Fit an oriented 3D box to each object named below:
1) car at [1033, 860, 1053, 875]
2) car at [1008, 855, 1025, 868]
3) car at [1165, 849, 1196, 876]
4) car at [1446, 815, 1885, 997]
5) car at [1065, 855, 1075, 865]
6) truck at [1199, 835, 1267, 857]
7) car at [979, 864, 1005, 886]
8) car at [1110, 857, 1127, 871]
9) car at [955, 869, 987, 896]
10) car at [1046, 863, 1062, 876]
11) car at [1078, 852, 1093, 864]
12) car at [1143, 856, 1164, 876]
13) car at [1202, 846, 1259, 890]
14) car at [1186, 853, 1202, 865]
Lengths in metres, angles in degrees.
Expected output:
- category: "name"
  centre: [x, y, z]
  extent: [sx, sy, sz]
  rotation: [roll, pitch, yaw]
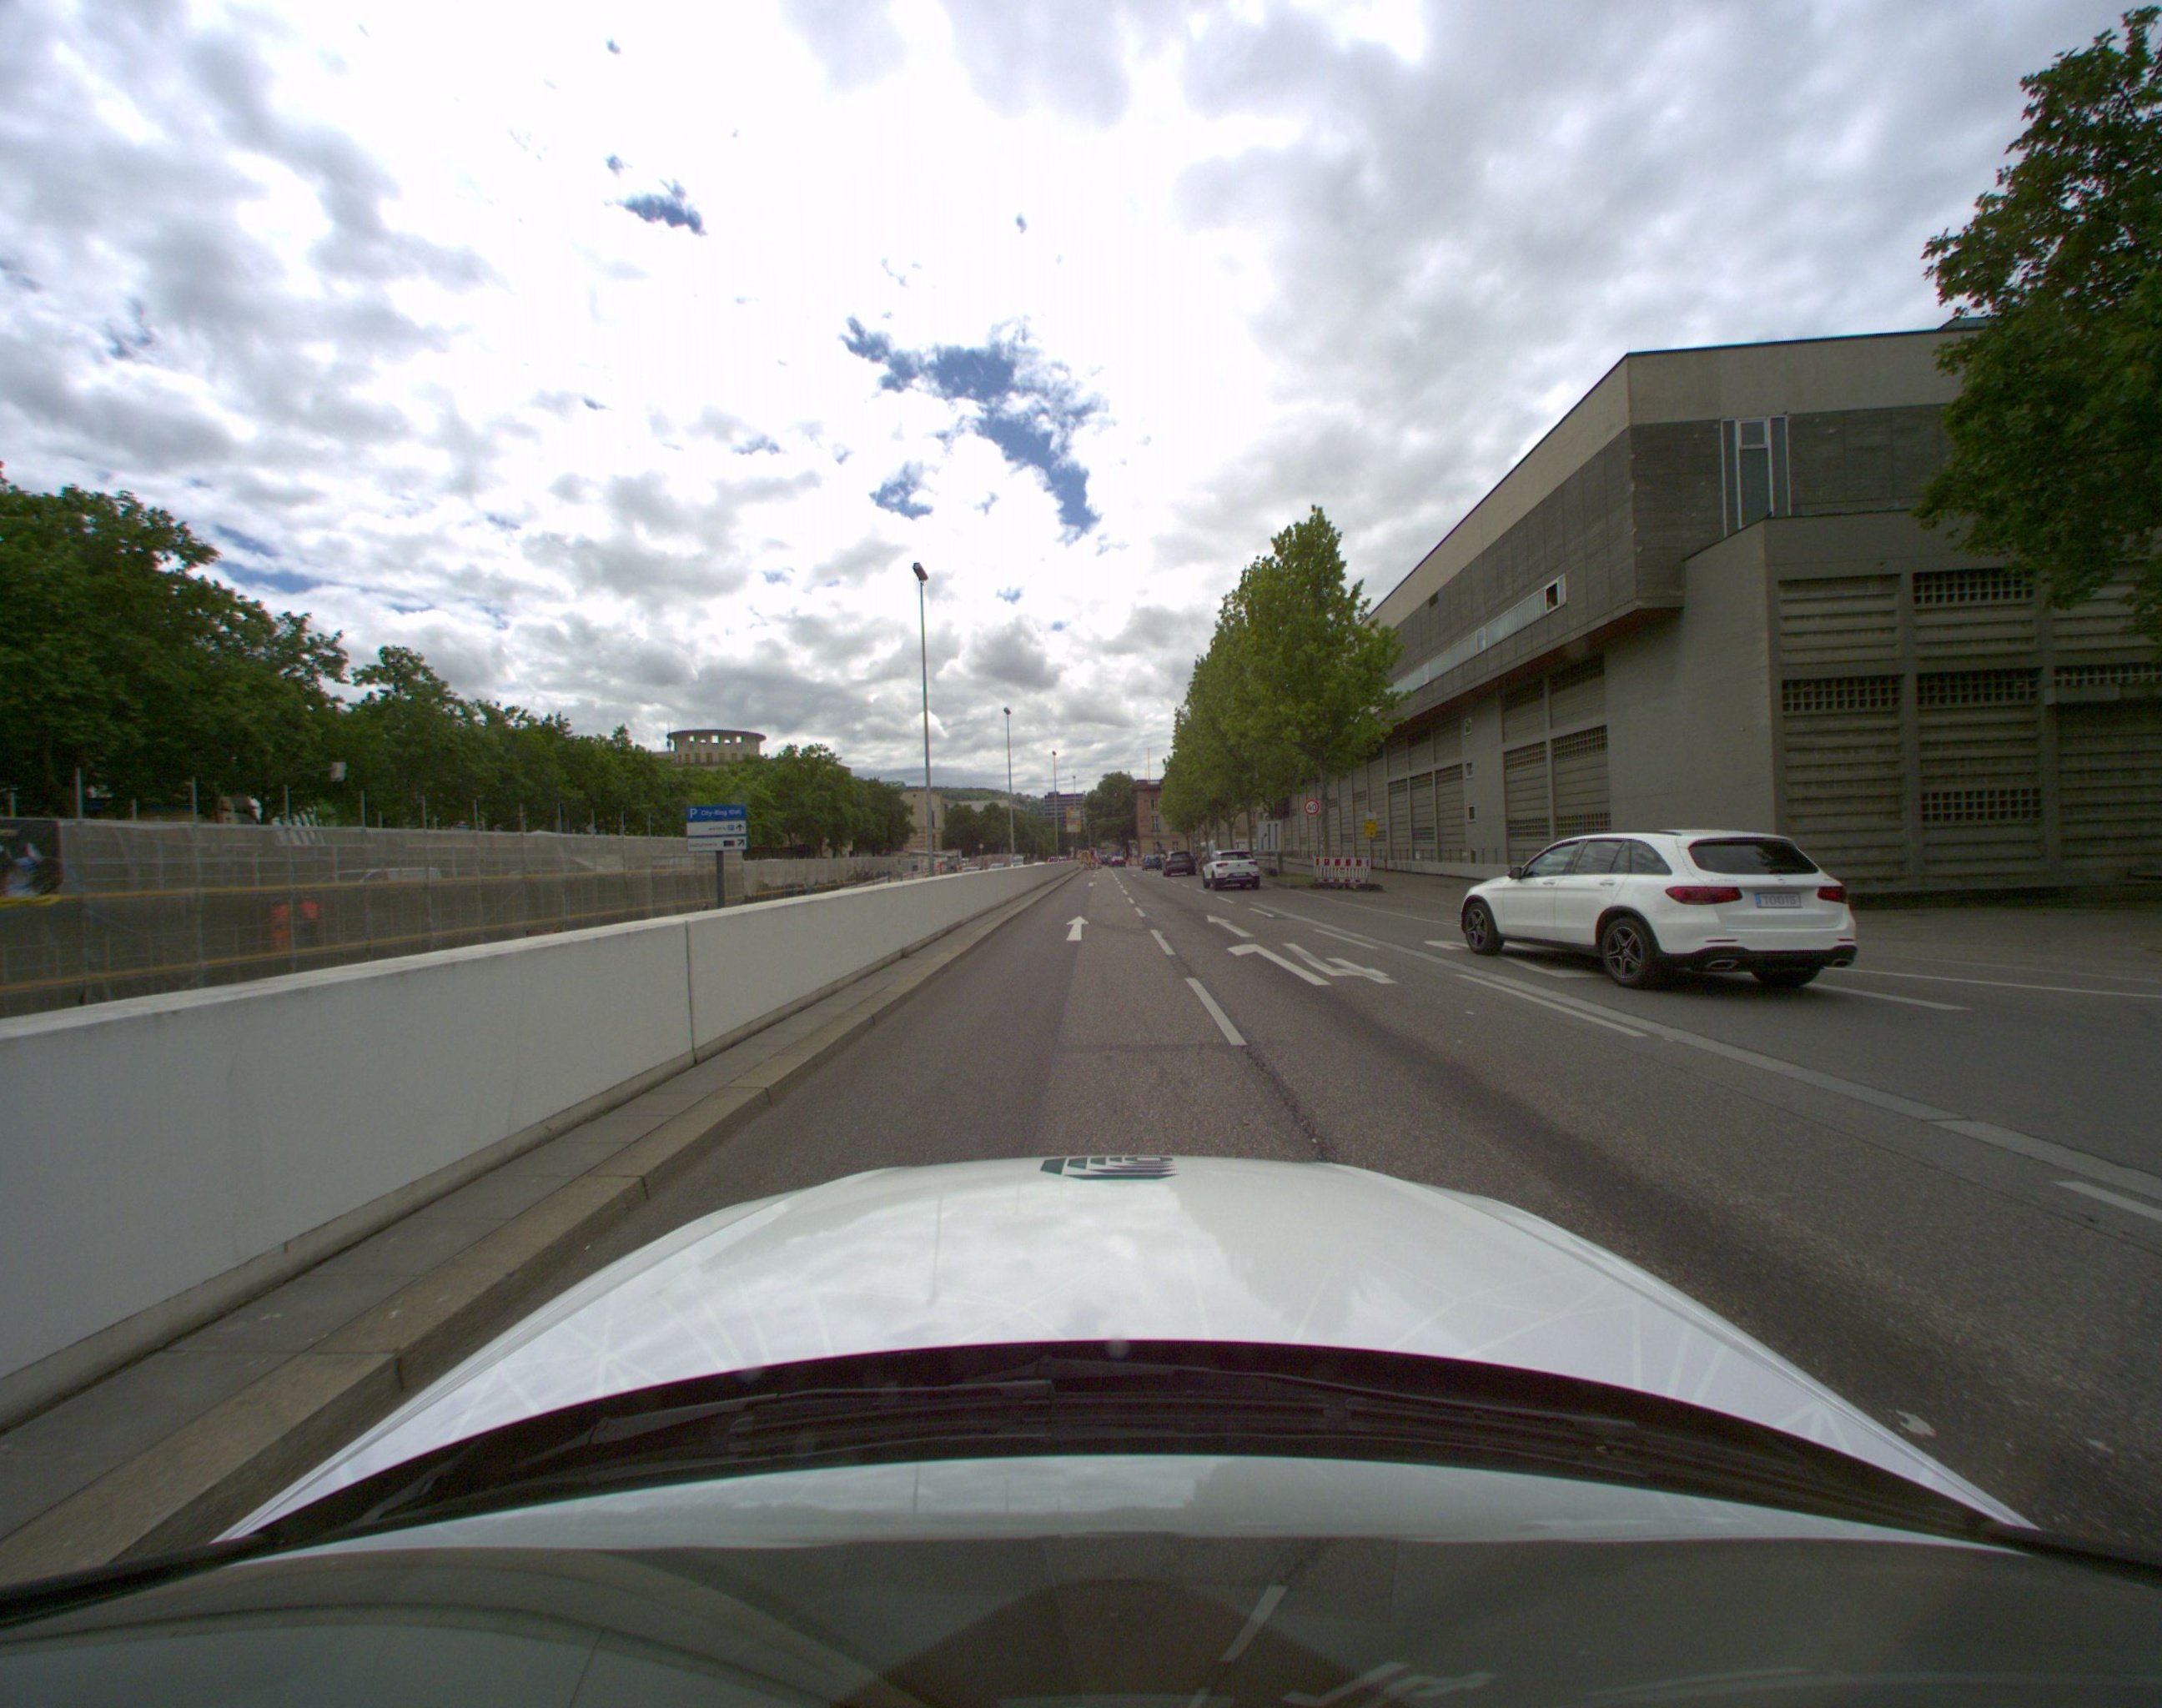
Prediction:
- category: "car"
  centre: [-4.061, 1.463, 87.814]
  extent: [1.743, 1.568, 3.379]
  rotation: [-1, -1, 3]
- category: "car"
  centre: [-8.520, 1.053, 108.024]
  extent: [1.743, 1.568, 3.379]
  rotation: [-5, -1, 3]
- category: "car"
  centre: [6.640, 0.557, 54.522]
  extent: [1.814, 1.567, 4.487]
  rotation: [-5, 0, 5]
- category: "car"
  centre: [6.368, 0.466, 9.698]
  extent: [1.807, 1.642, 4.547]
  rotation: [0, 0, -3]
- category: "car"
  centre: [-2.000, 1.117, 146.542]
  extent: [1.745, 1.568, 4.329]
  rotation: [-2, -1, -1]
- category: "truck"
  centre: [23.627, -1.237, 127.027]
  extent: [9.990, 3.051, 2.570]
  rotation: [-2, -2, 2]
- category: "car"
  centre: [-8.952, 2.126, 82.442]
  extent: [1.986, 2.013, 4.002]
  rotation: [-2, 1, 1]
- category: "car"
  centre: [4.932, 1.295, 106.681]
  extent: [1.814, 1.740, 4.488]
  rotation: [-3, -1, 6]
- category: "car"
  centre: [-9.331, 2.417, 69.344]
  extent: [1.986, 2.013, 4.002]
  rotation: [-2, 1, 1]
- category: "car"
  centre: [-3.627, 2.112, 110.908]
  extent: [1.743, 1.568, 3.379]
  rotation: [-5, -1, 3]
- category: "car"
  centre: [0.975, 0.868, 171.740]
  extent: [2.569, 2.374, 5.536]
  rotation: [-3, -1, 6]
- category: "car"
  centre: [7.141, 1.158, 79.511]
  extent: [1.814, 1.740, 4.488]
  rotation: [-3, -1, 6]
- category: "car"
  centre: [5.987, 0.525, 33.031]
  extent: [1.742, 1.567, 4.337]
  rotation: [-3, 0, 5]
- category: "car"
  centre: [16.537, 0.779, 119.038]
  extent: [1.849, 1.568, 4.333]
  rotation: [-2, -2, 2]
